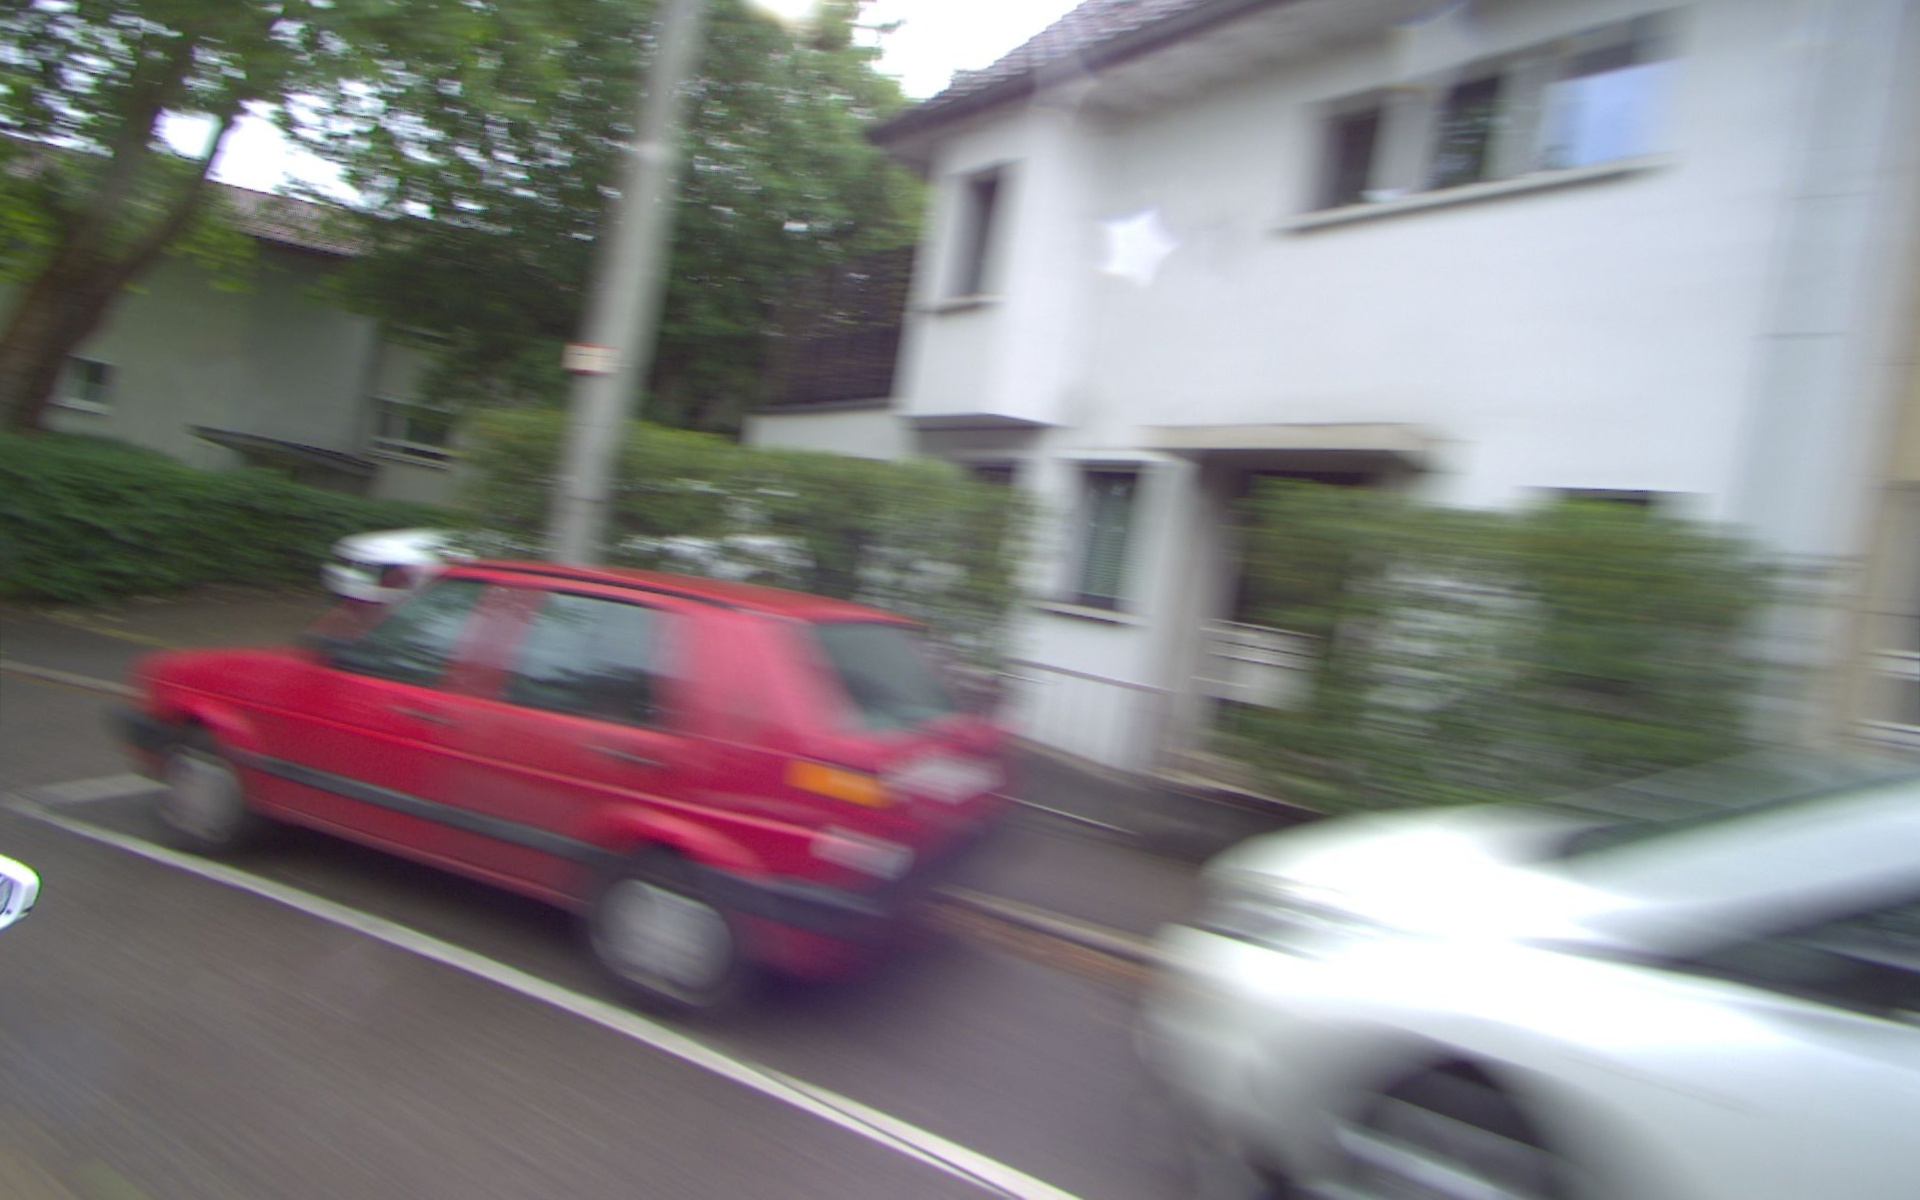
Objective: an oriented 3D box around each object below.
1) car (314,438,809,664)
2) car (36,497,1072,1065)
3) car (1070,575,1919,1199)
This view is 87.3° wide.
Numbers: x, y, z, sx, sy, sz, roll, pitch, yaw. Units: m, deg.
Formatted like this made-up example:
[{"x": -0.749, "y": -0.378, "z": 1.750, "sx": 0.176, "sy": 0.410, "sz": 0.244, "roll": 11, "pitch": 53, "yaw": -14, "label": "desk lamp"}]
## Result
[{"x": -3.974, "y": -0.617, "z": 10.464, "sx": 4.362, "sy": 1.872, "sz": 1.978, "roll": -4, "pitch": 9, "yaw": -38, "label": "car"}, {"x": -1.794, "y": 0.481, "z": 4.472, "sx": 4.119, "sy": 1.384, "sz": 1.785, "roll": 6, "pitch": 0, "yaw": 23, "label": "car"}, {"x": 2.395, "y": 0.949, "z": 2.245, "sx": 3.762, "sy": 1.534, "sz": 1.765, "roll": 7, "pitch": 0, "yaw": 35, "label": "car"}]
